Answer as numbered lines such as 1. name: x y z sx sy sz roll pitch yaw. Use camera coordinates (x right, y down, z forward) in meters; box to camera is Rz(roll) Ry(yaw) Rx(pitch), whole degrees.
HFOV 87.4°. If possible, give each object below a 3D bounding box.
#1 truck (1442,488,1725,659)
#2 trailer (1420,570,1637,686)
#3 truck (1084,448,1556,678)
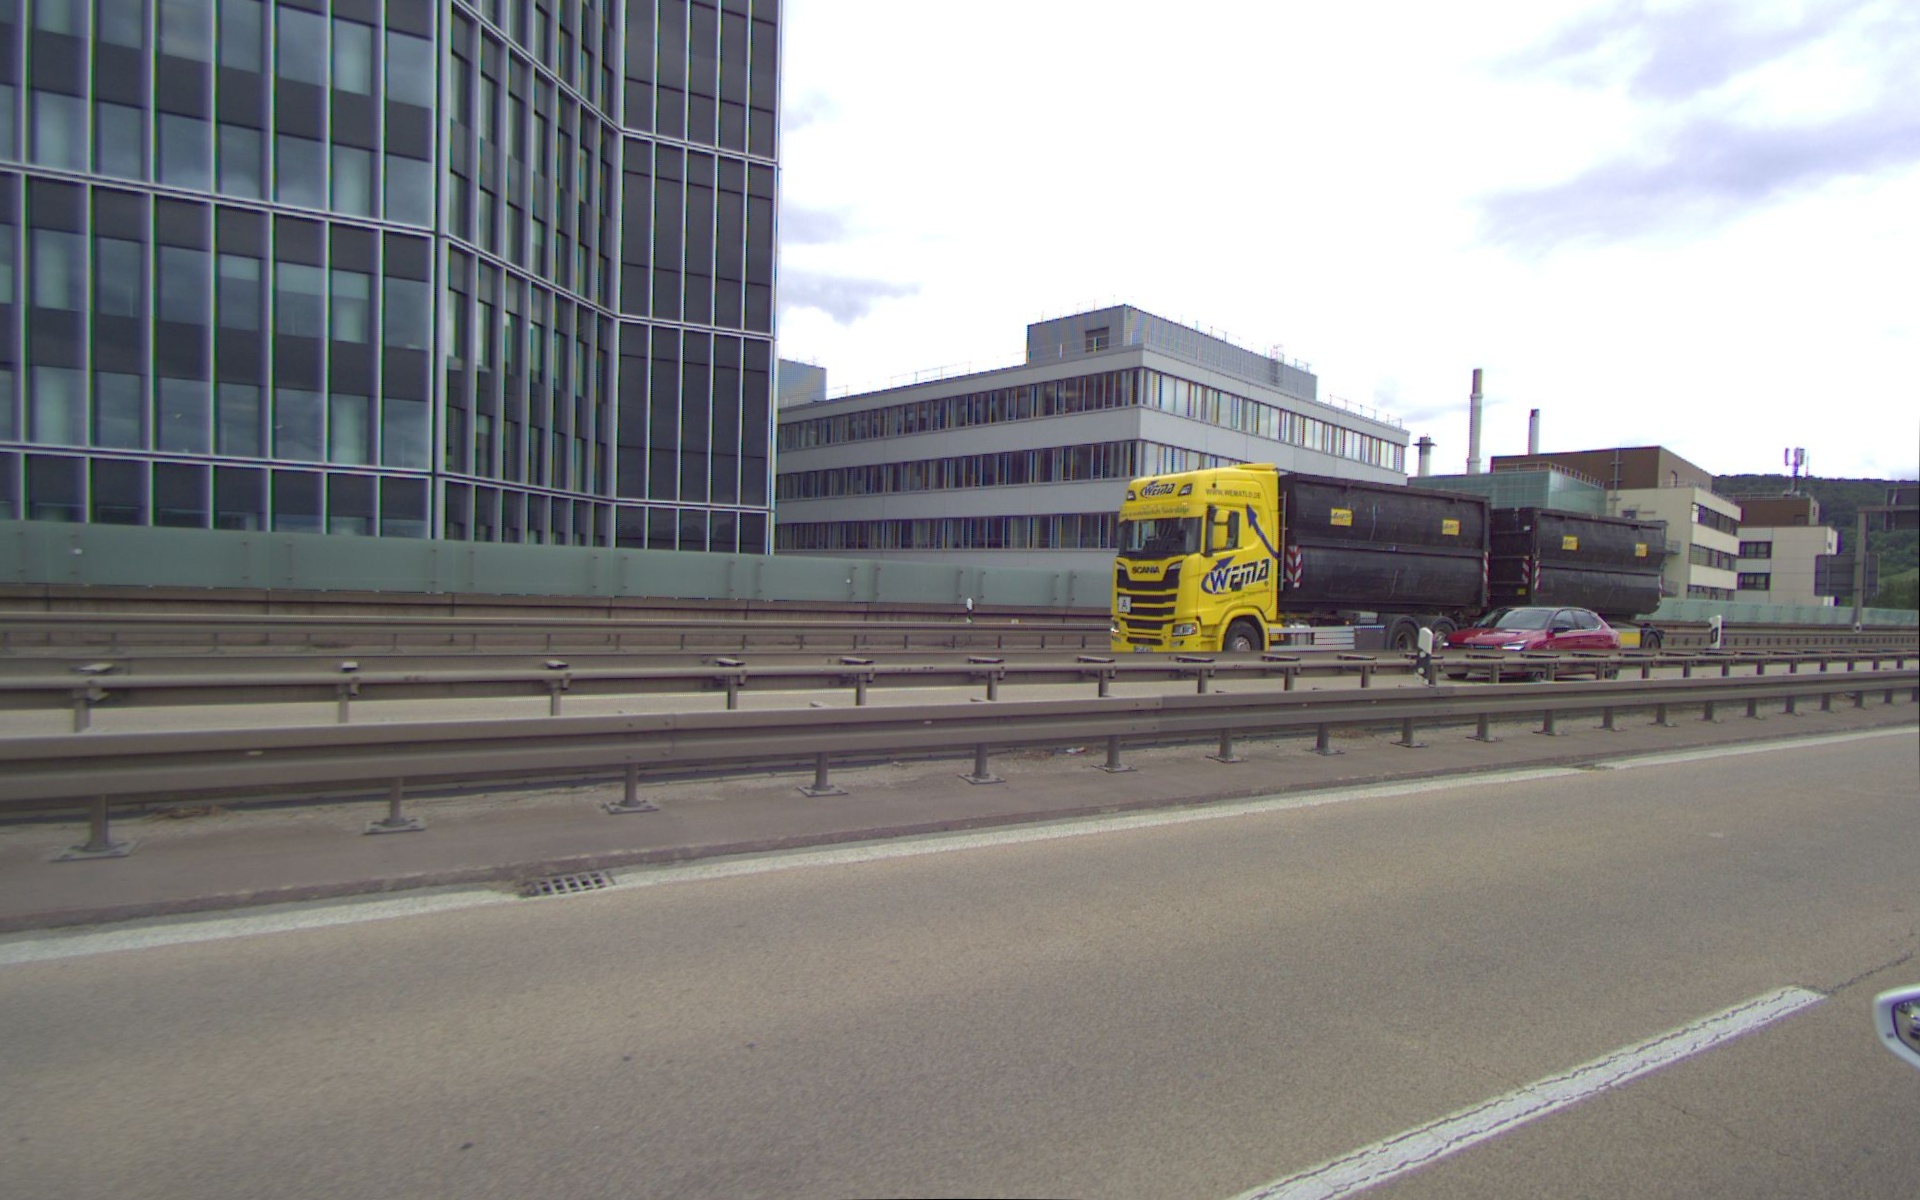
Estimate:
1. truck: 17.313 -0.541 27.678 8.564 4.119 3.041 2 0 -31
2. trailer: 11.073 0.504 19.538 3.954 2.040 1.983 1 0 -31
3. truck: 8.374 -0.516 22.291 11.719 4.119 3.042 2 0 -31
